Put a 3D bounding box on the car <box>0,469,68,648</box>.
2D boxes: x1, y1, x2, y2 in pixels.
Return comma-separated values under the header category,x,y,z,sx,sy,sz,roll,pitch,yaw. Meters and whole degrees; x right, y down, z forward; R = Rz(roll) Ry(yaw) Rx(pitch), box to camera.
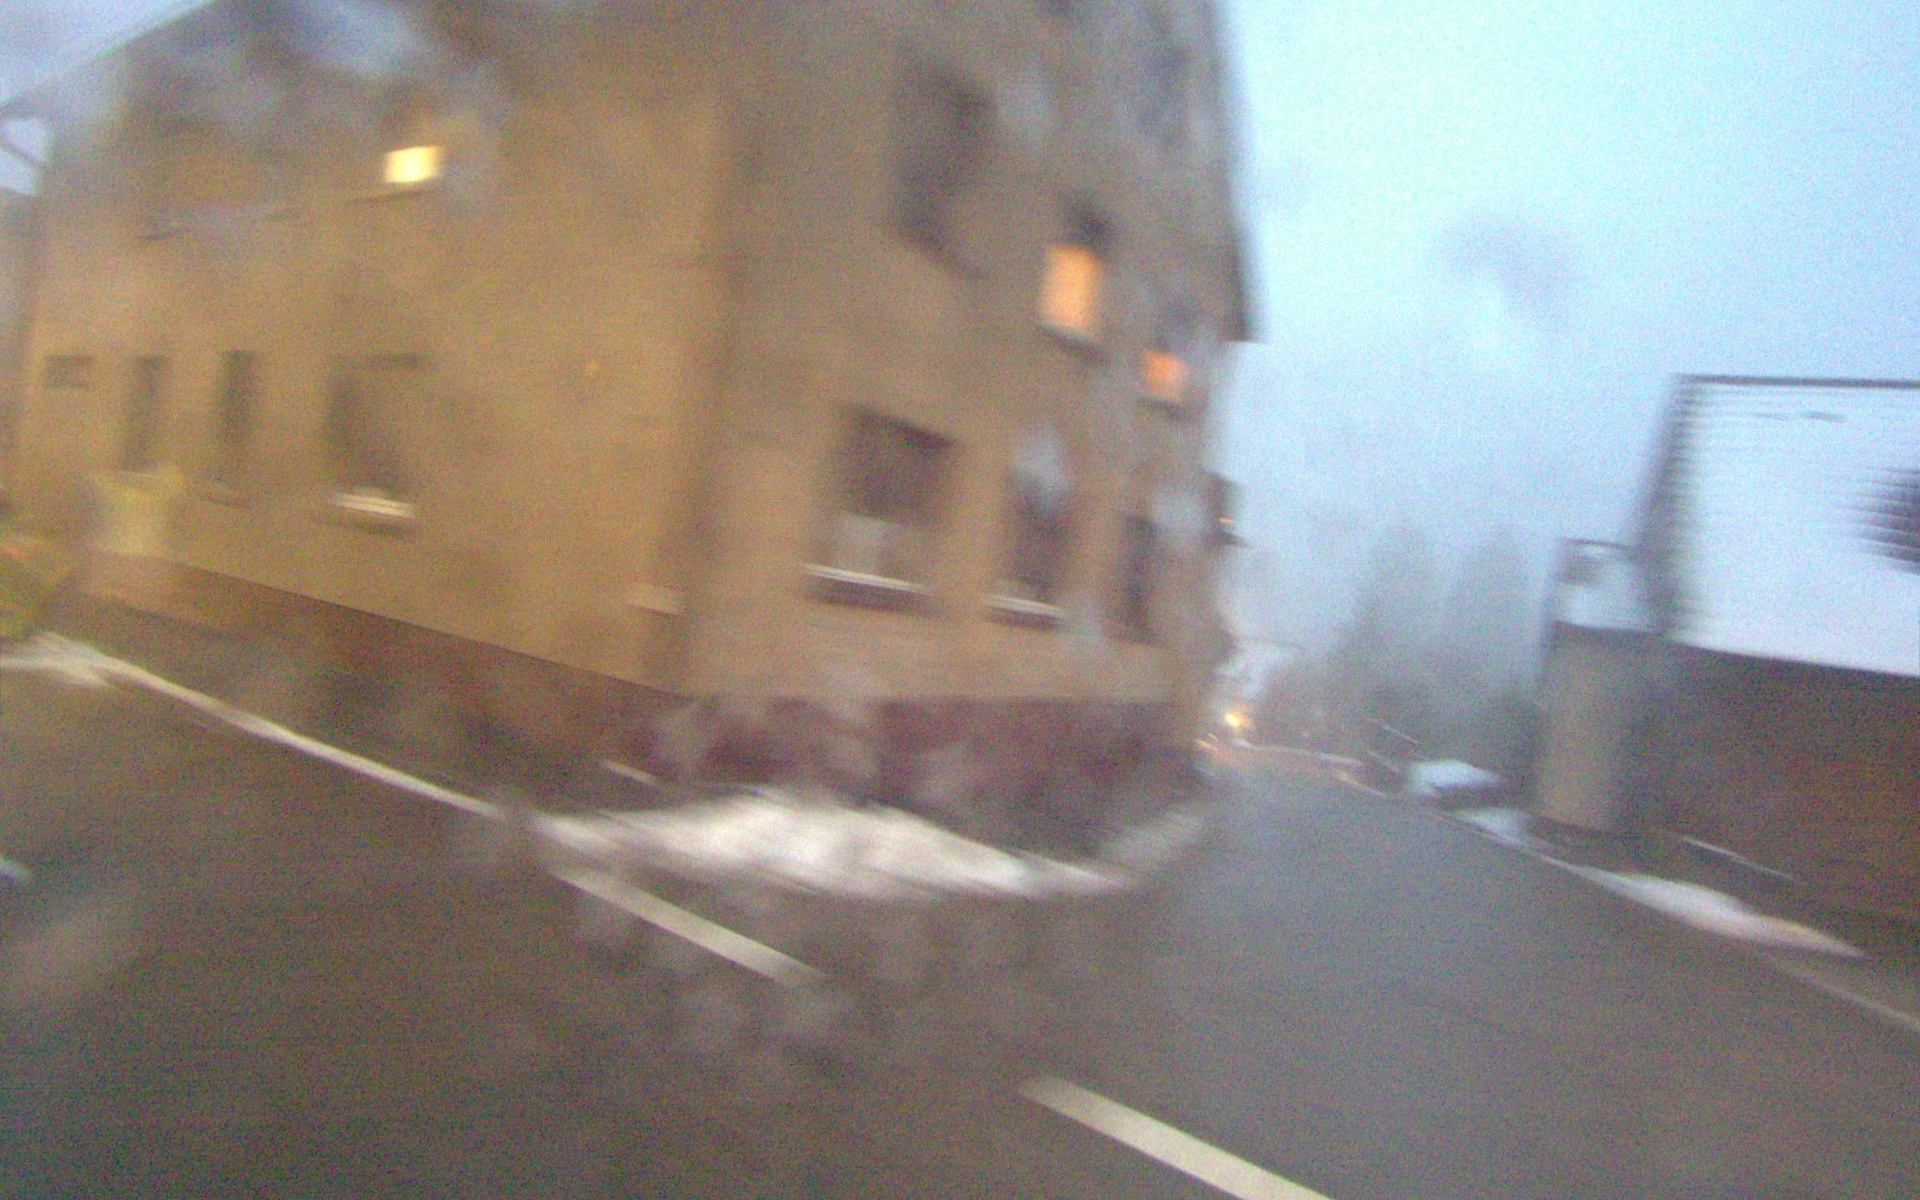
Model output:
category,x,y,z,sx,sy,sz,roll,pitch,yaw
car,-10.138,-0.651,9.485,3.847,1.516,1.719,8,-2,37
